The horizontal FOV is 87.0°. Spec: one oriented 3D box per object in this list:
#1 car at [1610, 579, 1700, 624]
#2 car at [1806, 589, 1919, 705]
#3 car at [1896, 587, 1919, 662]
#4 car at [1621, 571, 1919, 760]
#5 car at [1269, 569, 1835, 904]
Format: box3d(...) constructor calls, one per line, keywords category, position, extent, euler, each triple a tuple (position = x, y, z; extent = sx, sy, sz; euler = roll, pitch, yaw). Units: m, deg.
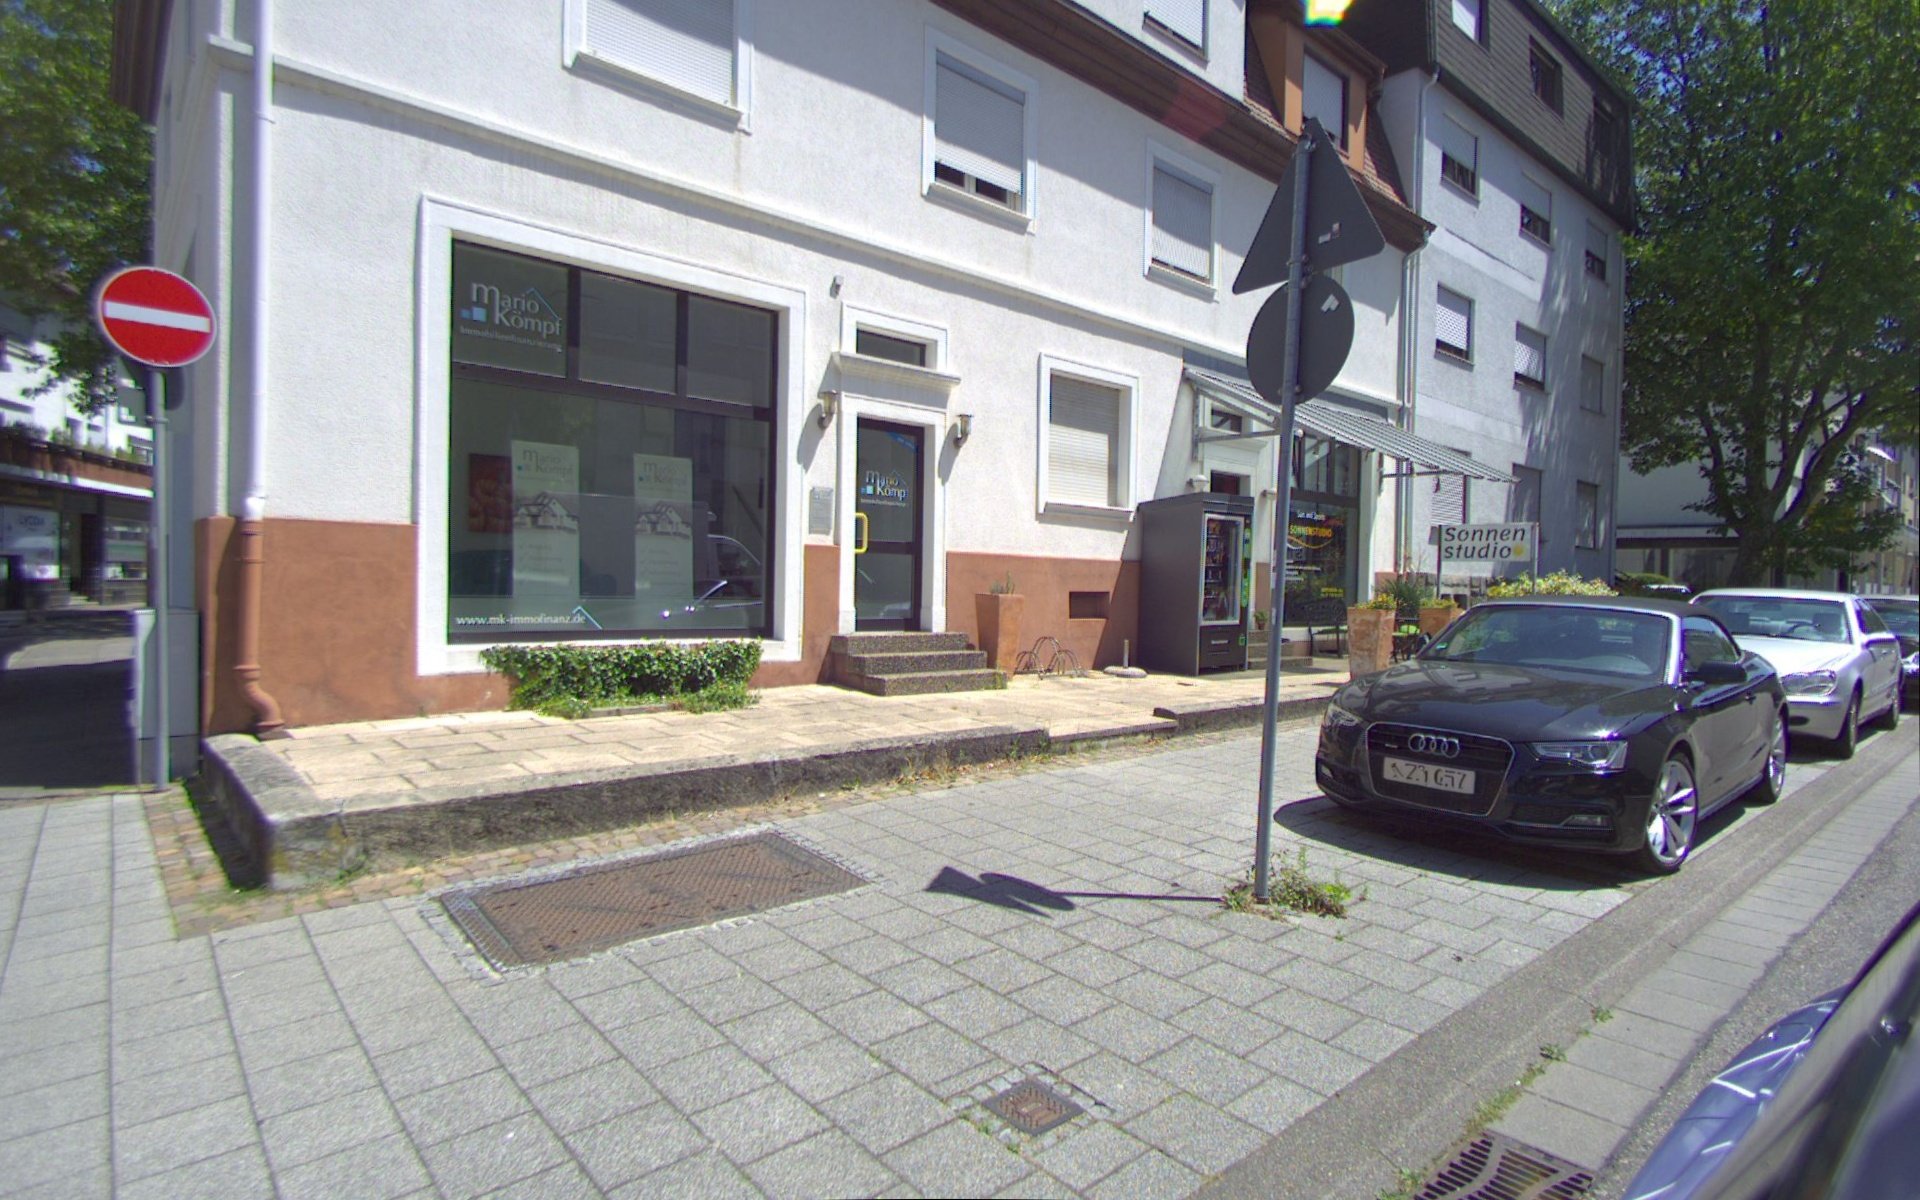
box3d(category="car", position=(24.924, 0.008, 36.404), extent=(1.715, 1.518, 3.443), euler=(1, 2, 18))
box3d(category="car", position=(13.019, 0.570, 13.867), extent=(4.101, 1.357, 1.561), euler=(0, 3, -42))
box3d(category="car", position=(21.731, 0.468, 21.934), extent=(4.681, 1.530, 1.831), euler=(-1, 0, -44))
box3d(category="car", position=(8.716, 0.510, 10.570), extent=(4.767, 1.486, 1.748), euler=(0, 4, -41))
box3d(category="car", position=(4.154, 0.574, 6.719), extent=(4.618, 1.444, 1.830), euler=(0, 3, -41))
